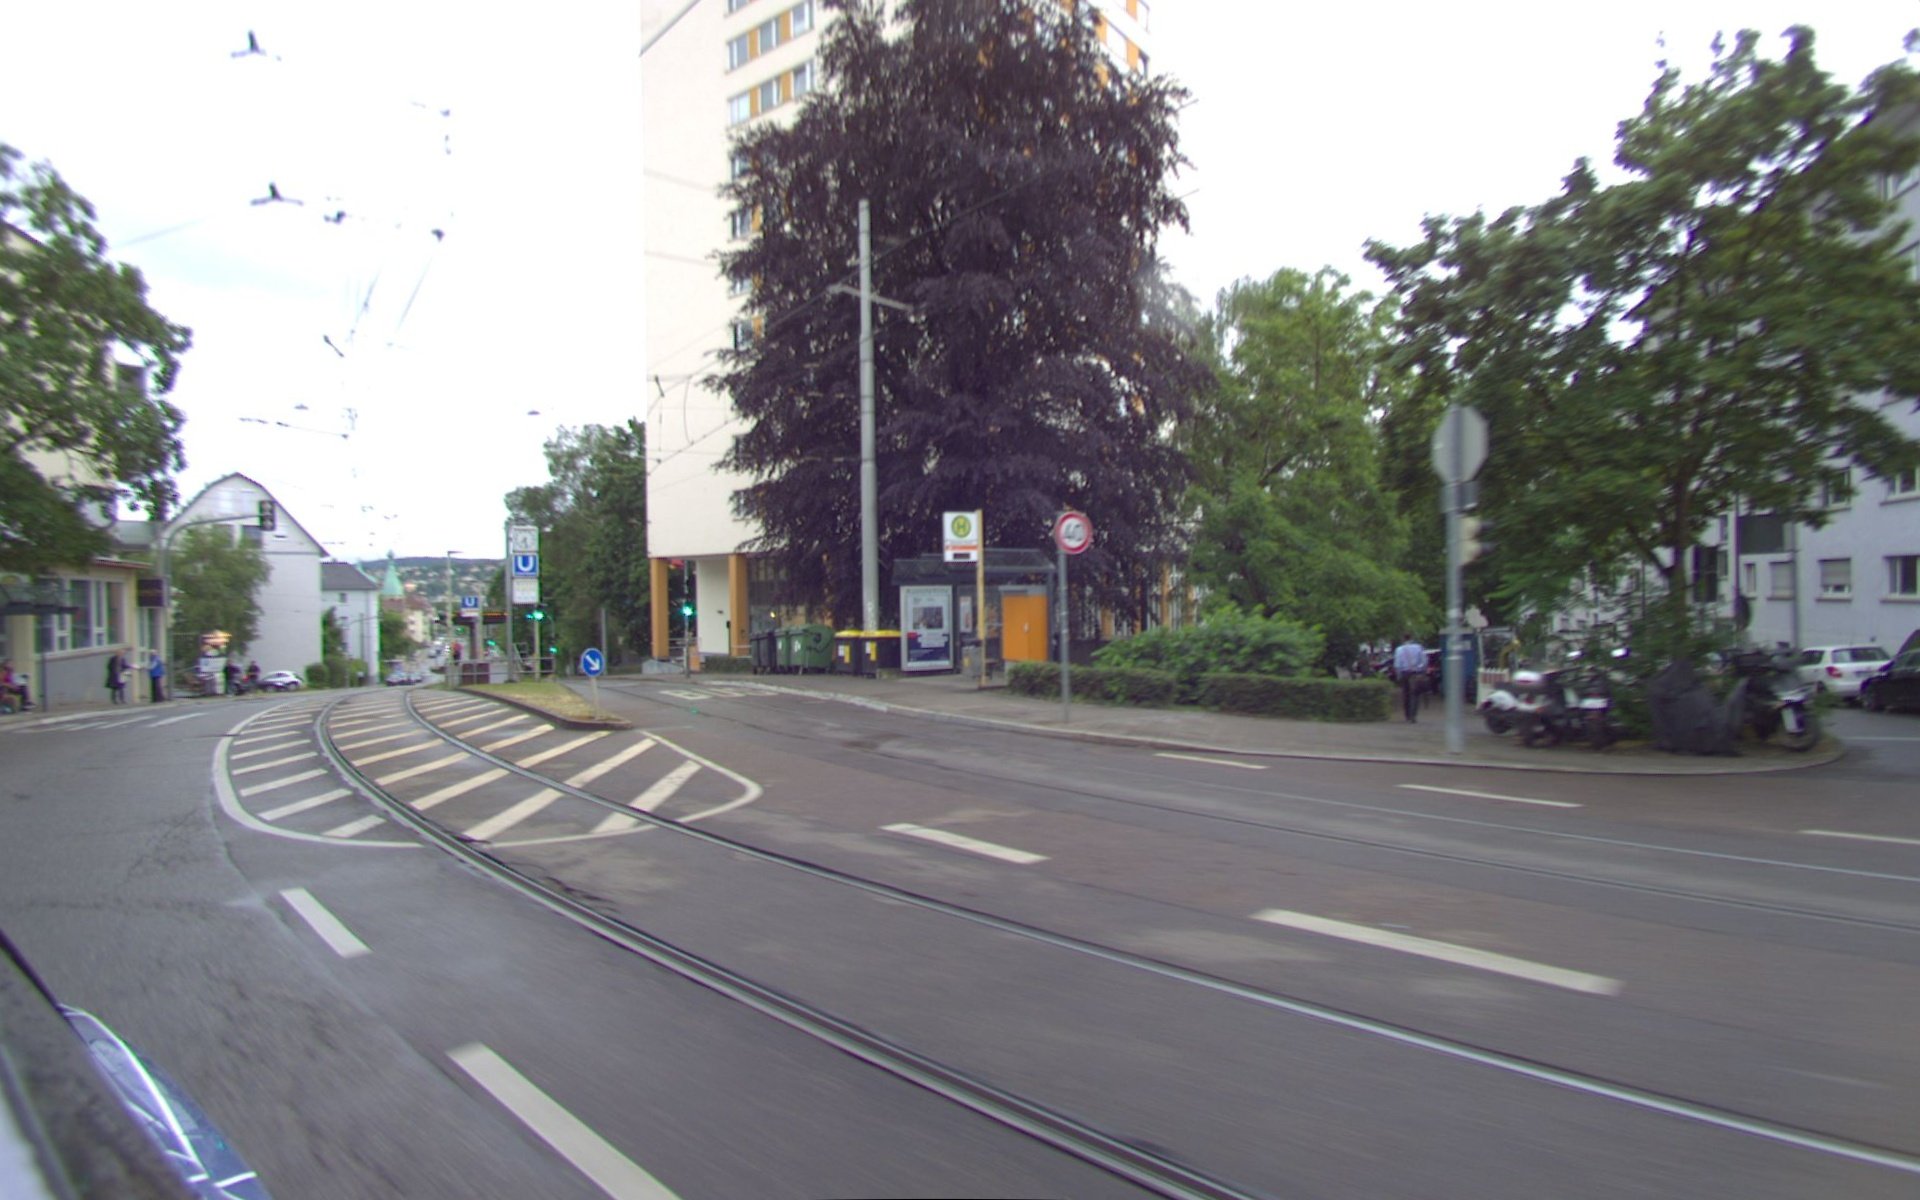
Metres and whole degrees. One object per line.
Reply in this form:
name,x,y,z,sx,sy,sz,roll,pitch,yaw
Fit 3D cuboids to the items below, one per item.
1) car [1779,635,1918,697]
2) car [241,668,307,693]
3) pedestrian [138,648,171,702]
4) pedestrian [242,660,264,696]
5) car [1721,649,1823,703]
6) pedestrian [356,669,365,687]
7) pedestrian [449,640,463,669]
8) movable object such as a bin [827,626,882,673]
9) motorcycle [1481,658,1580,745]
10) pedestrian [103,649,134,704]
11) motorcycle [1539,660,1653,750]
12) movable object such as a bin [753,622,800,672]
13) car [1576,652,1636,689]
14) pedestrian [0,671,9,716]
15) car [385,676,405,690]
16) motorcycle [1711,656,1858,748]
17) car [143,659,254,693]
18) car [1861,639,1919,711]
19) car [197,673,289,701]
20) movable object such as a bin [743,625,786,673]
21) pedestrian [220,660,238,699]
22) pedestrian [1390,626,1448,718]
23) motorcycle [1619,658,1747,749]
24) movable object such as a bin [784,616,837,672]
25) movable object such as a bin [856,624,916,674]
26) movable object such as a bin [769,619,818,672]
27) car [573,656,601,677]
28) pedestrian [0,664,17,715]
car,22.762,1.660,26.070,1.515,1.452,3.302,-2,-2,20
car,-50.676,5.916,74.833,3.932,1.477,1.822,-1,2,-32
pedestrian,-23.675,2.214,29.761,0.580,1.566,0.652,1,-5,-27
pedestrian,-34.491,3.786,49.372,0.709,1.727,0.610,0,-5,-18
car,24.111,2.221,30.158,1.385,1.452,3.042,-2,-2,20
pedestrian,-56.769,7.355,95.790,0.647,1.633,0.632,-1,-4,-21
pedestrian,-27.225,2.947,54.704,0.661,1.560,0.774,0,-5,-28
movable object such as a bin,-2.810,1.319,26.847,1.006,1.147,1.347,-3,-3,-25
motorcycle,7.993,1.384,14.277,0.480,1.057,2.116,-3,-2,10
pedestrian,-24.423,2.216,29.381,0.538,1.566,0.560,1,-5,-29
motorcycle,8.681,1.400,13.911,0.480,1.057,2.116,-4,-3,10
movable object such as a bin,-5.664,1.459,31.193,1.006,1.444,1.359,-3,-3,-25
car,29.703,3.211,46.585,1.451,1.477,3.394,-5,-3,19
pedestrian,-21.584,2.096,22.657,0.320,1.003,0.318,3,-6,-30
car,-63.547,9.312,113.905,1.697,1.368,4.012,-2,-3,-26
motorcycle,10.995,1.322,13.597,0.480,1.057,2.116,-4,-3,10
car,-39.299,3.960,52.357,4.267,1.687,1.786,2,-6,-25
car,20.970,1.585,21.123,1.689,1.452,3.731,-2,-2,15
car,-48.947,5.929,69.225,4.862,1.447,1.981,-3,-2,-26
movable object such as a bin,-6.281,1.572,32.453,1.006,1.444,1.308,-3,-3,-25
pedestrian,-33.642,3.670,46.563,0.571,1.727,0.616,-2,-3,-31
pedestrian,8.644,1.346,19.085,0.560,1.697,0.777,1,-3,-34
motorcycle,9.788,1.369,13.805,0.480,1.057,2.116,-4,-3,10
movable object such as a bin,-4.178,1.241,28.156,1.006,1.444,1.432,-3,-3,-25
movable object such as a bin,-1.849,1.234,25.151,1.006,1.147,1.347,-3,-3,-25
movable object such as a bin,-4.914,1.359,29.803,1.006,1.444,1.449,-3,-3,-25
car,-32.846,5.865,89.083,1.722,1.730,4.455,-1,-4,-28
pedestrian,-21.761,2.036,23.022,0.320,1.159,0.318,3,-6,-30
